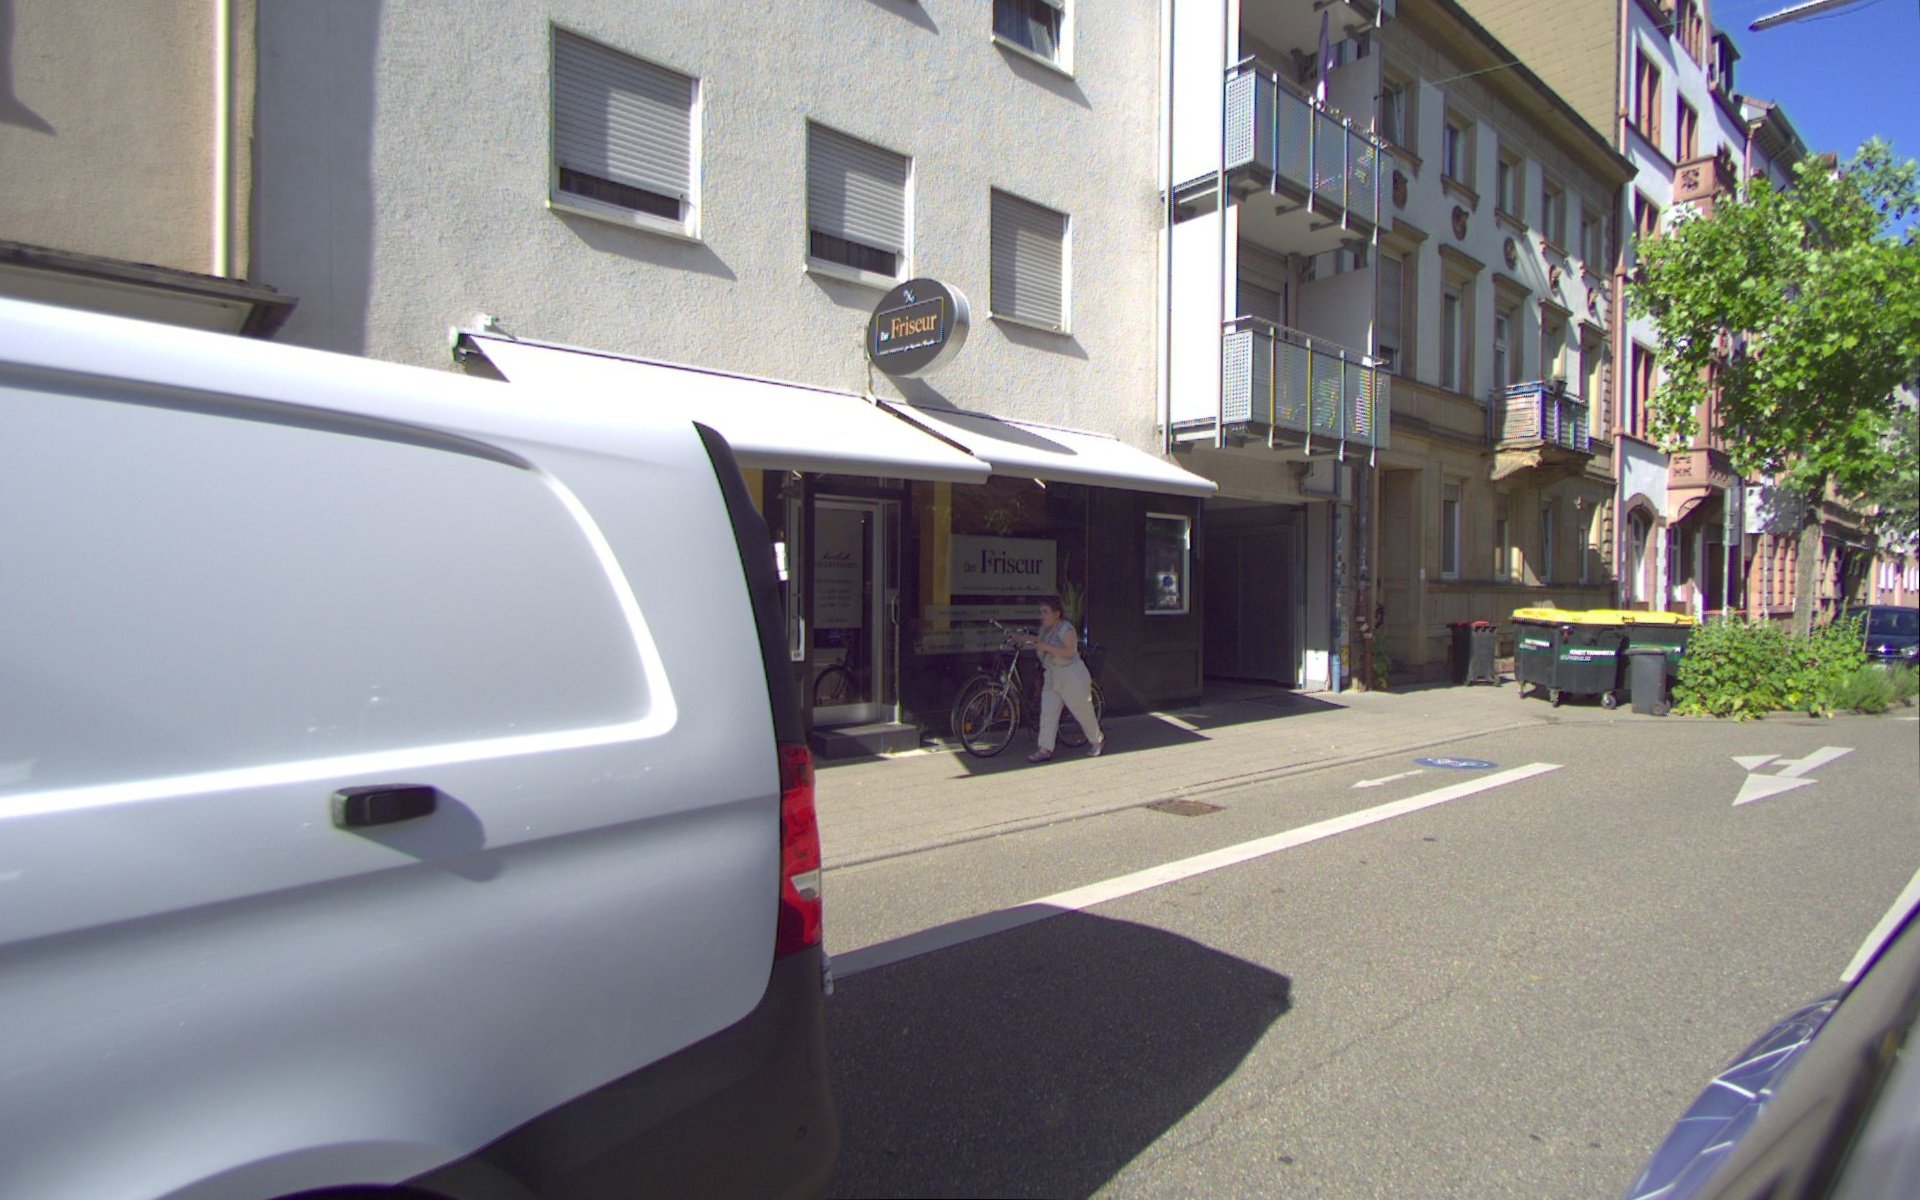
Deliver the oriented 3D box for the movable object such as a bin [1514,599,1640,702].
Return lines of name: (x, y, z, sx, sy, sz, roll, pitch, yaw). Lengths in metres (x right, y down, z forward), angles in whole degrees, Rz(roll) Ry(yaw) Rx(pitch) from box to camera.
movable object such as a bin: (8.845, 0.701, 14.577, 1.030, 1.341, 1.216, 1, 3, 1)

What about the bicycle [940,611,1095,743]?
bicycle: (0.607, 0.719, 10.102, 1.760, 1.193, 0.402, 0, 0, -41)

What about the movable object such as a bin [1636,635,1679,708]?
movable object such as a bin: (9.574, 0.973, 13.886, 0.399, 0.933, 0.478, 3, 3, 41)

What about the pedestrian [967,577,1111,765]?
pedestrian: (0.717, 0.594, 9.186, 0.930, 1.556, 0.825, 0, 4, -41)

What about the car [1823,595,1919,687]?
car: (16.840, 0.676, 18.214, 3.293, 1.510, 1.550, 0, 1, -41)

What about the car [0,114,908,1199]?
car: (-2.508, 0.437, 0.878, 4.912, 1.892, 1.838, 0, 1, -43)

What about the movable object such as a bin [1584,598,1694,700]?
movable object such as a bin: (9.962, 0.686, 14.900, 0.943, 1.364, 1.066, 1, 3, 11)

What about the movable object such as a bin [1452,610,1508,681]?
movable object such as a bin: (8.535, 0.741, 16.623, 0.557, 1.094, 0.617, 1, 3, 1)

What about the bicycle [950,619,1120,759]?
bicycle: (0.732, 0.781, 9.446, 1.760, 1.146, 0.402, 0, 4, -41)
